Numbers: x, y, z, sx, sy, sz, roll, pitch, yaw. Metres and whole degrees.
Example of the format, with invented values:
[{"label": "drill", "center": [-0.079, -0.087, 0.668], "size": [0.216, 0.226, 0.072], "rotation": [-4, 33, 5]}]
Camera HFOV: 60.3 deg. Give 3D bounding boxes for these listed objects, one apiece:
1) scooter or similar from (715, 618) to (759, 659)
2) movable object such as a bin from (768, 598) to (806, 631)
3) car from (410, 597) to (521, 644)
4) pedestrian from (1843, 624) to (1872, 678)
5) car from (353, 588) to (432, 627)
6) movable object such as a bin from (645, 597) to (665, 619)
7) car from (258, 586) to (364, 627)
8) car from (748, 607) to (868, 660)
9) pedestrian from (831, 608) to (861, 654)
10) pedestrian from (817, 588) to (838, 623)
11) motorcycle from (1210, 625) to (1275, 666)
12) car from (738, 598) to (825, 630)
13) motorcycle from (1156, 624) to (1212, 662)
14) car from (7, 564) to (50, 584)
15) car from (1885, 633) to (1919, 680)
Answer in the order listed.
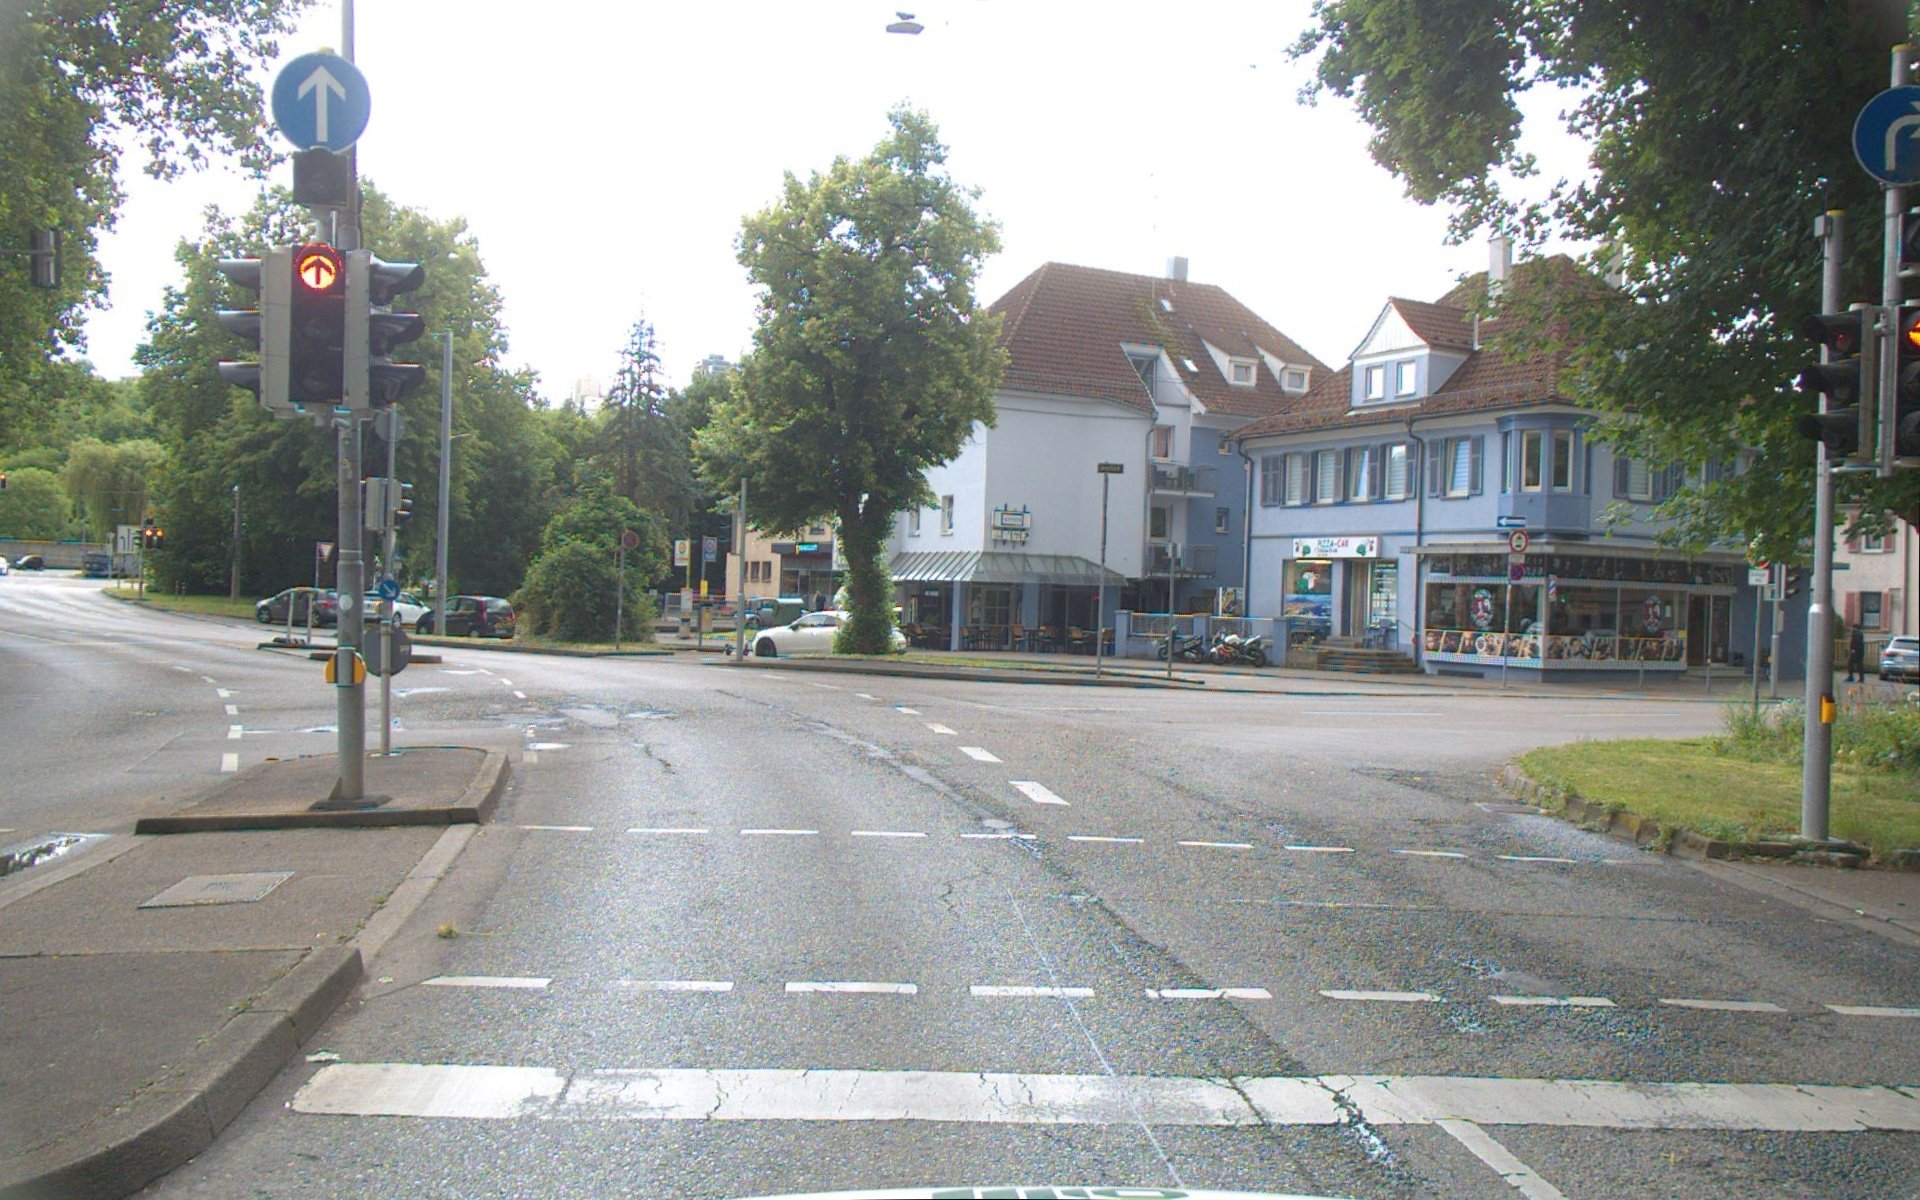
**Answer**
[{"label": "scooter or similar", "center": [-5.726, 0.984, 42.537], "size": [0.408, 1.029, 1.567], "rotation": [1, 0, 20]}, {"label": "movable object such as a bin", "center": [-7.715, 0.663, 73.837], "size": [1.424, 1.433, 0.959], "rotation": [1, 0, -27]}, {"label": "car", "center": [-16.003, 0.663, 53.457], "size": [3.519, 1.418, 1.468], "rotation": [1, 0, 32]}, {"label": "pedestrian", "center": [26.295, 1.489, 48.452], "size": [0.574, 1.544, 0.459], "rotation": [1, -1, -7]}, {"label": "car", "center": [-22.665, 0.312, 66.179], "size": [1.512, 1.490, 3.398], "rotation": [1, 0, 10]}, {"label": "movable object such as a bin", "center": [-15.850, 0.402, 85.910], "size": [0.937, 1.135, 0.381], "rotation": [1, 0, -22]}, {"label": "car", "center": [-24.856, 0.250, 63.389], "size": [3.469, 1.490, 1.586], "rotation": [1, 0, 12]}, {"label": "car", "center": [-4.241, 0.920, 45.954], "size": [3.110, 1.378, 1.435], "rotation": [1, 0, 34]}, {"label": "pedestrian", "center": [-3.951, 1.058, 57.312], "size": [0.754, 1.572, 0.675], "rotation": [1, -1, 38]}, {"label": "pedestrian", "center": [-6.094, 0.251, 75.971], "size": [0.670, 1.572, 0.699], "rotation": [2, 0, -35]}, {"label": "motorcycle", "center": [8.276, 1.312, 48.476], "size": [1.765, 1.141, 0.692], "rotation": [1, 0, 38]}, {"label": "car", "center": [-8.155, 0.647, 75.727], "size": [3.690, 1.368, 1.421], "rotation": [1, 0, -27]}, {"label": "motorcycle", "center": [6.796, 1.296, 50.233], "size": [1.609, 1.082, 0.690], "rotation": [1, 0, 44]}, {"label": "car", "center": [-102.215, -2.806, 181.484], "size": [3.948, 2.049, 1.978], "rotation": [1, 0, -32]}, {"label": "car", "center": [29.856, 1.739, 51.410], "size": [1.471, 1.393, 3.164], "rotation": [1, 0, 38]}]
